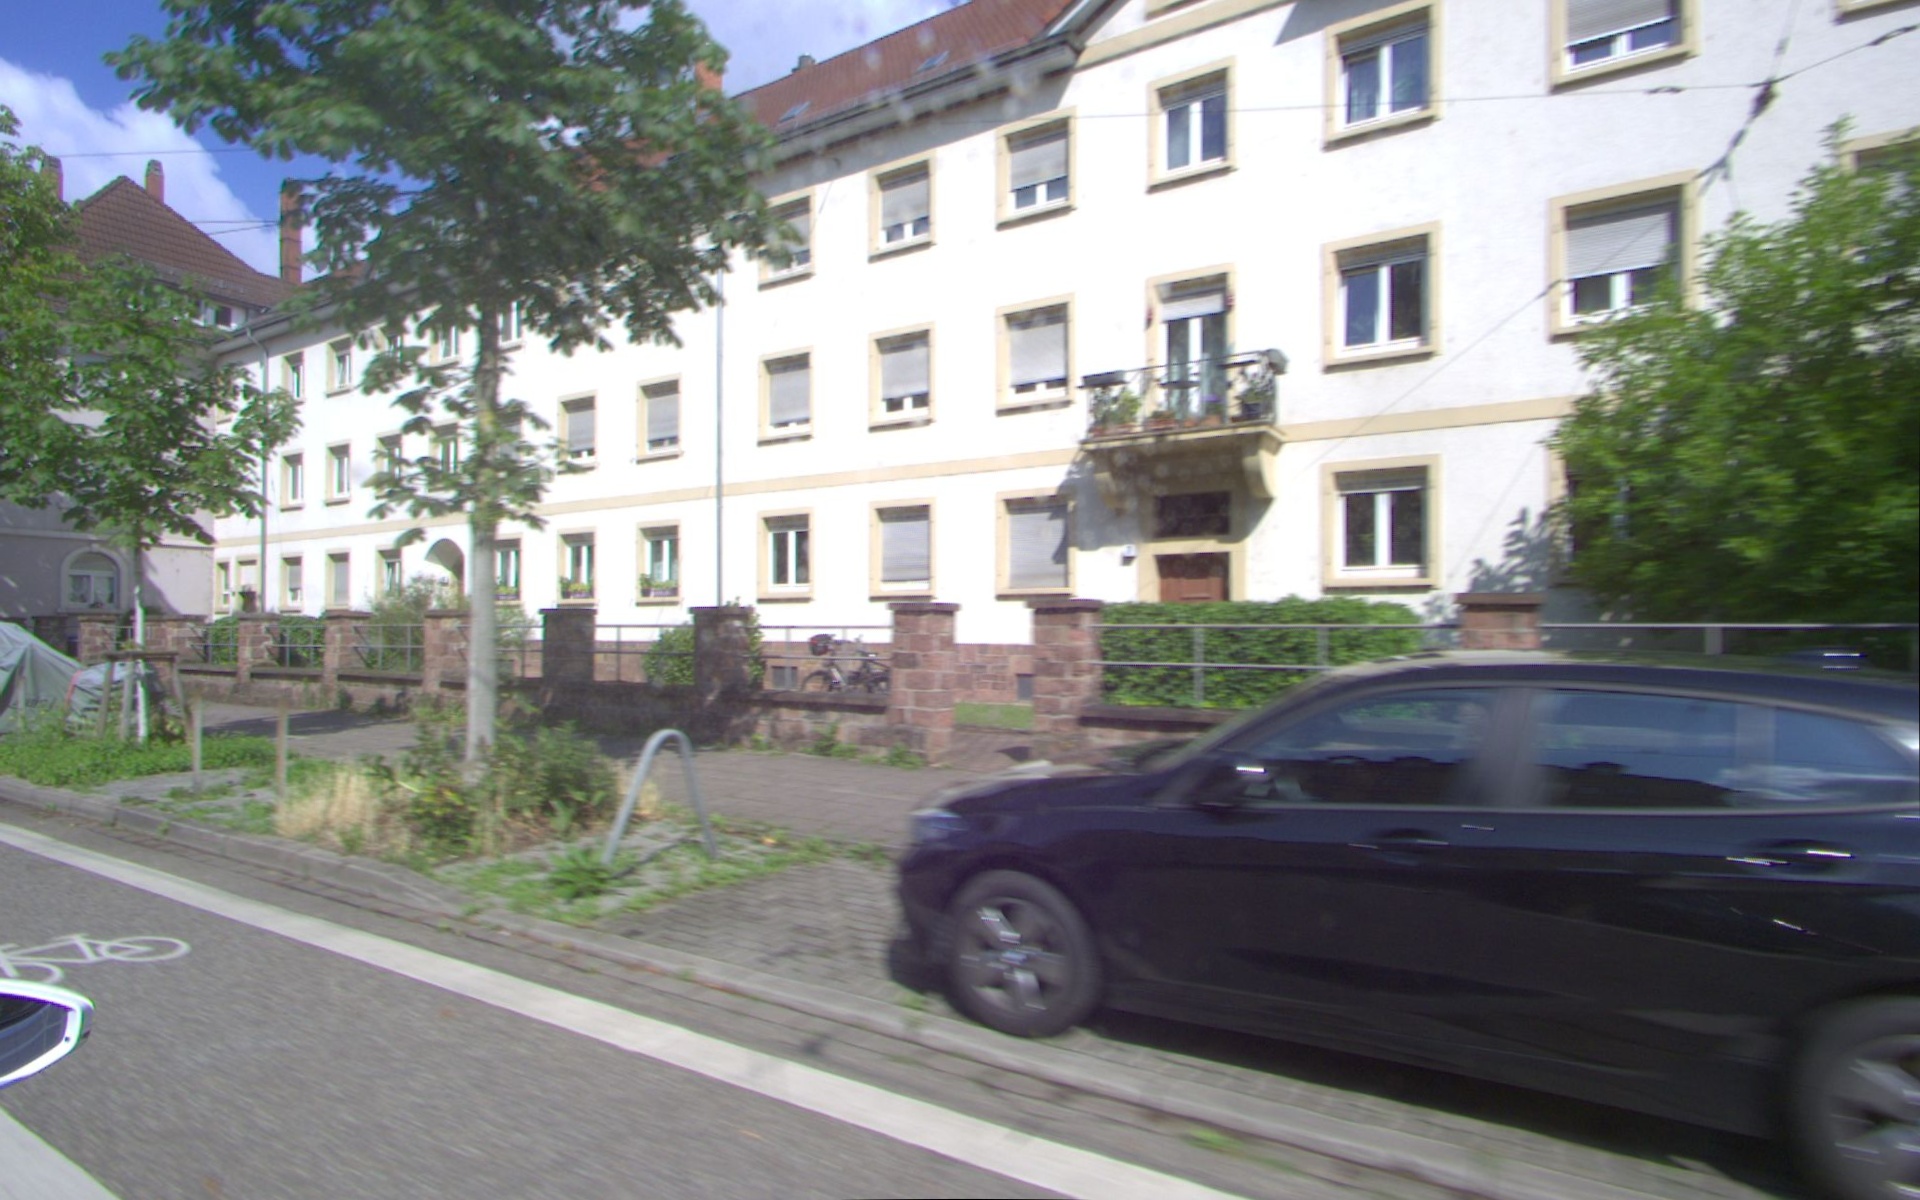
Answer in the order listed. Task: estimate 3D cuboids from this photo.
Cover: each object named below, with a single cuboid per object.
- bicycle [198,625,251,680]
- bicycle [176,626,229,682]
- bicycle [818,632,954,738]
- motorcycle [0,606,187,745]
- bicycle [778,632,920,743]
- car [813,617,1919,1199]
[{"bbox_3d":[-16.905,1.191,23.004,1.680,1.227,0.411,-1,-1,33],"label":"bicycle"},{"bbox_3d":[-17.112,1.196,22.604,1.680,1.227,0.411,-1,-1,33],"label":"bicycle"},{"bbox_3d":[-0.936,1.017,12.464,1.680,1.227,0.598,-1,-1,33],"label":"bicycle"},{"bbox_3d":[-10.931,0.904,12.099,2.347,1.617,0.677,3,-2,-19],"label":"motorcycle"},{"bbox_3d":[-1.330,1.002,11.877,1.680,1.227,0.598,-1,-1,33],"label":"bicycle"},{"bbox_3d":[1.588,0.866,3.837,4.137,1.497,1.704,-1,-4,32],"label":"car"}]
